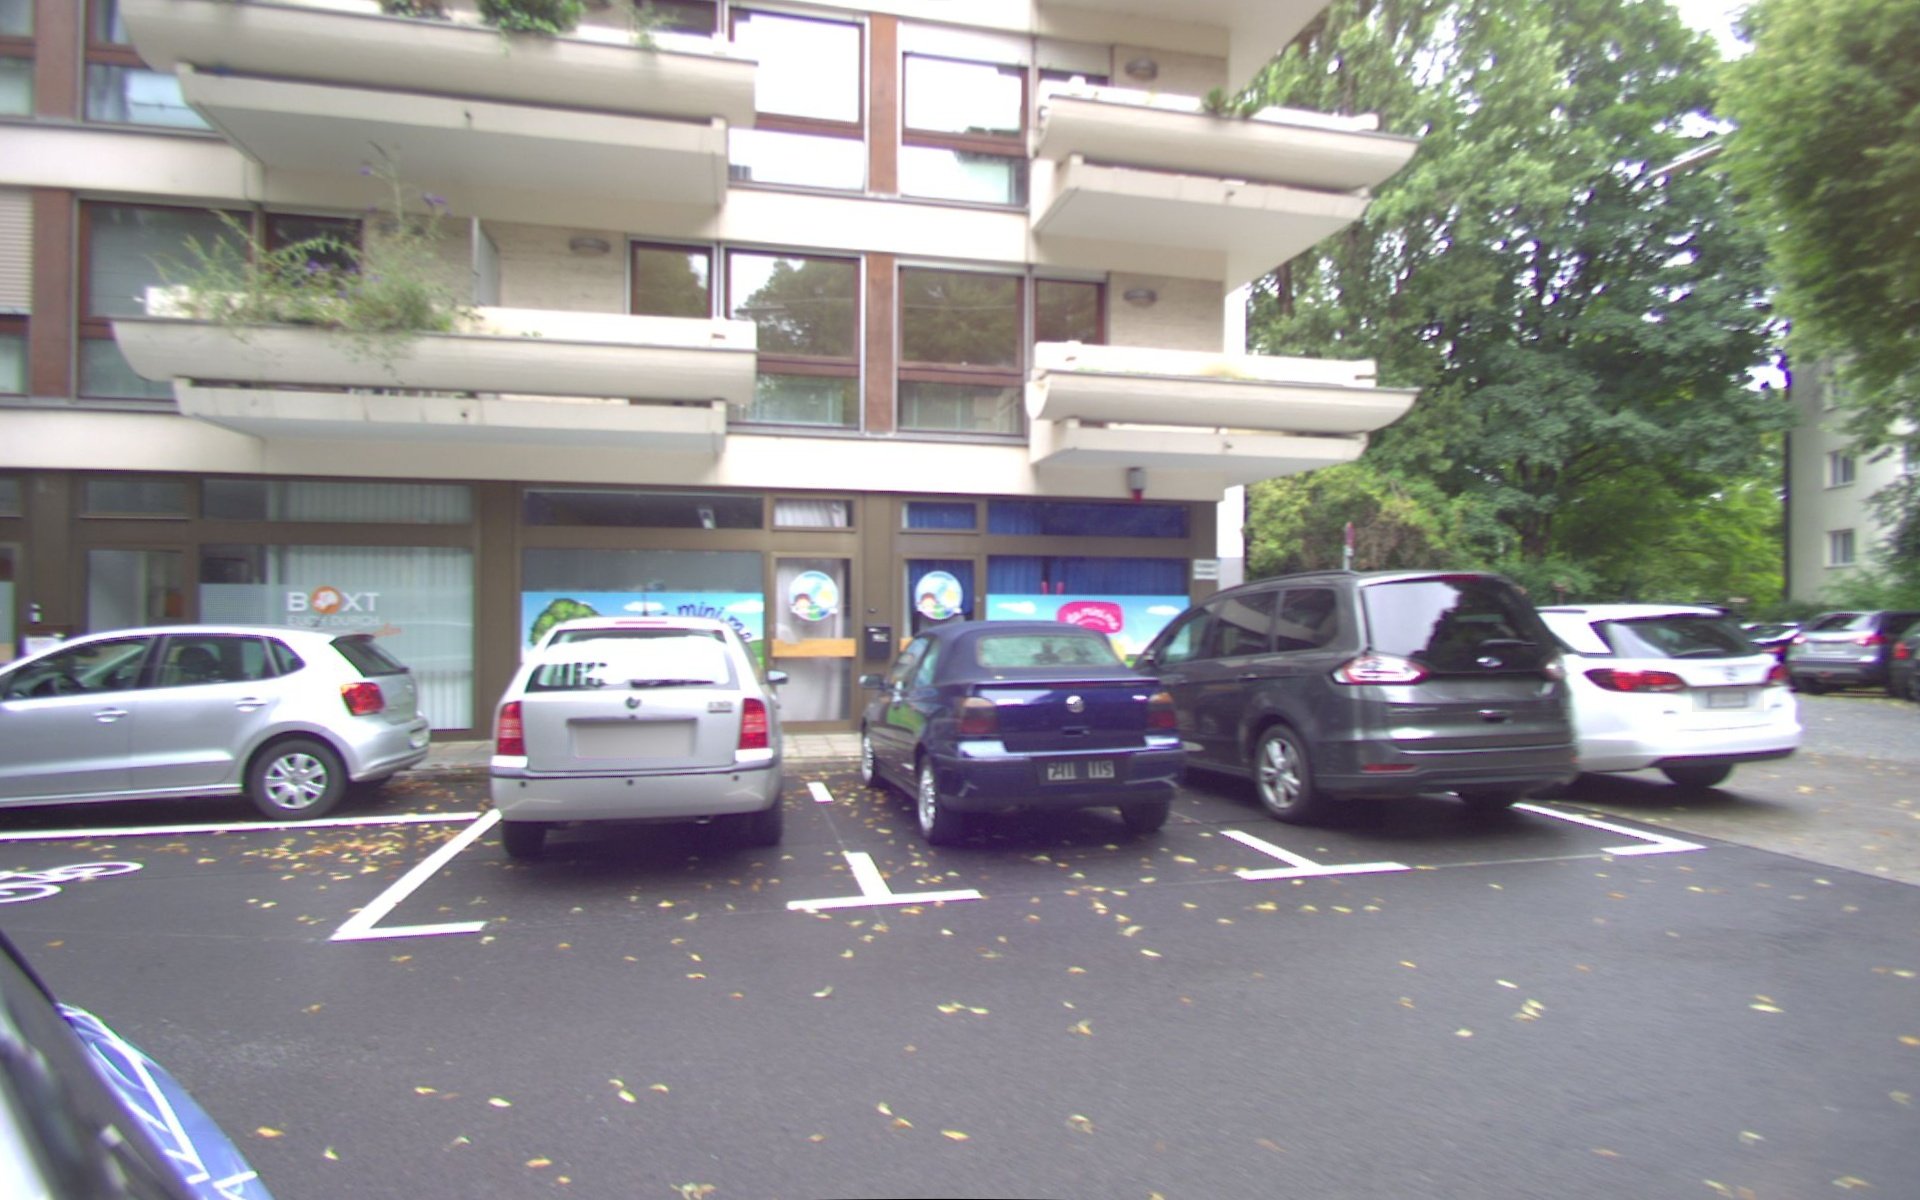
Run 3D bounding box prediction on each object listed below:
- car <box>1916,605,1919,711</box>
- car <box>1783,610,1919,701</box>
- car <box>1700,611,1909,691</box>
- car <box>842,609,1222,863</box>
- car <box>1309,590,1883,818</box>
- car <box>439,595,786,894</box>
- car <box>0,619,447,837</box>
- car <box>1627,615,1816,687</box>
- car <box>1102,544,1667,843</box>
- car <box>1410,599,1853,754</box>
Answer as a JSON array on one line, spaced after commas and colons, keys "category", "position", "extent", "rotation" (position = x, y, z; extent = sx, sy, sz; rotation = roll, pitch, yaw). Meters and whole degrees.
[{"category": "car", "position": [15.011, 0.767, 13.532], "extent": [3.931, 1.412, 2.070], "rotation": [0, 0, -28]}, {"category": "car", "position": [17.392, 0.950, 18.700], "extent": [3.930, 1.489, 1.730], "rotation": [0, 0, -22]}, {"category": "car", "position": [17.688, 1.001, 21.207], "extent": [3.930, 1.489, 1.730], "rotation": [0, 0, -22]}, {"category": "car", "position": [0.210, 0.833, 7.744], "extent": [1.689, 1.378, 4.082], "rotation": [0, -2, -14]}, {"category": "car", "position": [5.043, 0.784, 8.809], "extent": [1.804, 1.491, 4.011], "rotation": [0, -3, -15]}, {"category": "car", "position": [-2.272, 0.819, 7.285], "extent": [1.692, 1.466, 4.252], "rotation": [0, -3, -14]}, {"category": "car", "position": [-6.137, 0.893, 7.660], "extent": [3.769, 1.432, 1.570], "rotation": [0, -2, -14]}, {"category": "car", "position": [17.662, 1.130, 23.476], "extent": [3.930, 1.489, 1.730], "rotation": [0, 0, -22]}, {"category": "car", "position": [2.855, 0.615, 8.041], "extent": [1.870, 1.697, 4.245], "rotation": [0, -2, -15]}, {"category": "car", "position": [7.560, 0.844, 11.932], "extent": [1.804, 1.491, 4.012], "rotation": [0, -3, -20]}]
